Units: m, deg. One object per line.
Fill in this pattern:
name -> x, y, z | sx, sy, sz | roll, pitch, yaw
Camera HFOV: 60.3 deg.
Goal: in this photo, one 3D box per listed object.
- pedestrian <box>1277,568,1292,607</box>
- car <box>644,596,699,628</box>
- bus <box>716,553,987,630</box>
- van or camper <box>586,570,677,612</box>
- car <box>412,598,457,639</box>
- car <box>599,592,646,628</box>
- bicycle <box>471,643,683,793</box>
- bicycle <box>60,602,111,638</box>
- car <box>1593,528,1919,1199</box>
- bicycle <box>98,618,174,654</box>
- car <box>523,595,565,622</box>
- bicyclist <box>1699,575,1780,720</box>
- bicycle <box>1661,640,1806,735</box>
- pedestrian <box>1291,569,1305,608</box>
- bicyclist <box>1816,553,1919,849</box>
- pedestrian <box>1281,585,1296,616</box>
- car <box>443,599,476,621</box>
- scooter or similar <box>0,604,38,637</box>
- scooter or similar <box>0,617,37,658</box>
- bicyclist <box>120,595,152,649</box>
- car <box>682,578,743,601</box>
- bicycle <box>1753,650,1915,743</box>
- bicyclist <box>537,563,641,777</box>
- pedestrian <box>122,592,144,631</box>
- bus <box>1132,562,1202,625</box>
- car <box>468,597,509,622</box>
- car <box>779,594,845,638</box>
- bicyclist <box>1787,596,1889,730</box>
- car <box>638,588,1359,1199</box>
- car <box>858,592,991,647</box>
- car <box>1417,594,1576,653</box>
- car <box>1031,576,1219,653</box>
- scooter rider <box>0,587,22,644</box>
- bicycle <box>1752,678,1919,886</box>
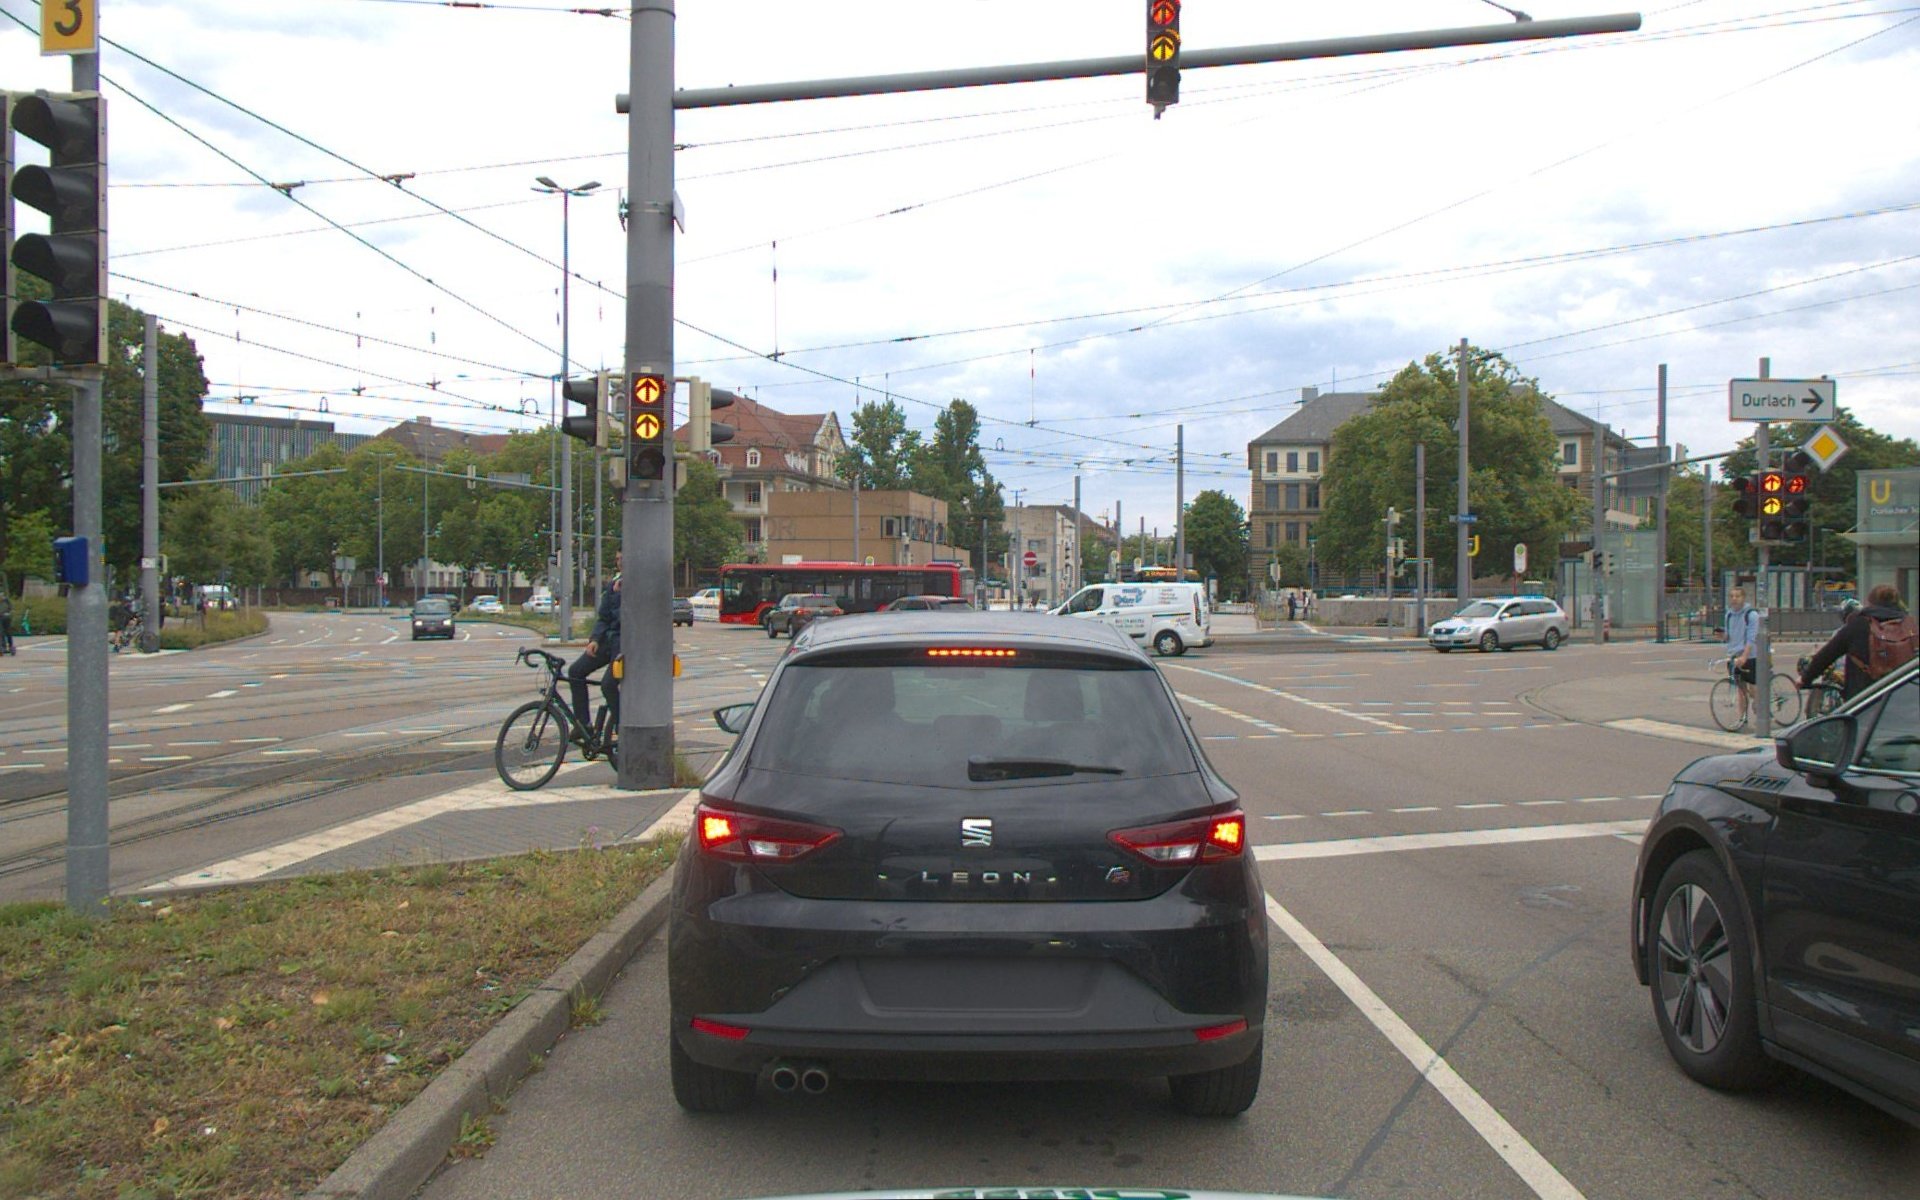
pedestrian -> 35.922, -1.357, 183.085 | 1.358, 4.328, 1.346 | 0, 0, 0
car -> -14.797, 0.601, 84.572 | 1.966, 1.566, 3.972 | 0, 0, -23
bus -> -5.004, -0.361, 75.727 | 12.078, 3.355, 3.070 | 0, 0, 18
van or camper -> -27.338, -0.740, 137.887 | 2.828, 3.390, 7.102 | -2, -1, 44
car -> -20.778, 0.702, 65.309 | 1.594, 1.542, 3.644 | -1, 1, -19
car -> -19.647, 0.566, 96.223 | 1.966, 2.049, 3.972 | 0, 0, -23
bicycle -> -3.052, 0.916, 13.257 | 1.599, 1.088, 0.520 | -1, 0, -41
bicycle -> -36.991, 0.838, 69.972 | 0.829, 1.474, 2.255 | 0, 0, 4
car -> 3.313, 0.661, 3.764 | 1.865, 1.687, 4.512 | 0, 0, -3
bicycle -> -26.683, 1.180, 53.595 | 2.081, 1.046, 0.791 | 3, 0, -20
car -> -28.392, 0.566, 112.829 | 1.969, 1.780, 3.966 | 0, 0, -26
bicyclist -> 9.907, 0.594, 21.020 | 0.724, 1.782, 0.581 | -2, 1, -27
bicycle -> 9.819, 1.087, 20.976 | 1.964, 1.015, 0.574 | -4, 1, -28
pedestrian -> 37.421, -1.287, 183.087 | 1.280, 4.328, 1.346 | 0, 0, 0
bicyclist -> 5.713, 0.579, 10.028 | 0.603, 1.720, 0.805 | 0, 0, -3
pedestrian -> 20.270, 0.042, 102.066 | 0.806, 1.886, 1.022 | 0, 0, 15
car -> -40.756, 0.819, 134.673 | 1.969, 1.780, 3.966 | 0, 0, -26
scooter or similar -> -38.478, 0.842, 67.203 | 1.753, 1.325, 0.623 | -1, 0, -33
scooter or similar -> -28.121, 1.096, 48.526 | 0.560, 1.185, 1.907 | 0, 0, 20
bicyclist -> -26.694, 0.703, 53.590 | 0.800, 1.685, 0.789 | 2, 0, -20
car -> -21.474, -0.899, 143.683 | 1.967, 1.897, 4.969 | -5, -3, 45
bicycle -> 10.334, 1.128, 19.550 | 1.912, 1.016, 0.598 | 0, 0, -22
bicyclist -> -2.989, 0.545, 13.317 | 0.649, 1.668, 0.510 | 0, 0, -40
pedestrian -> -38.193, 0.510, 76.393 | 0.734, 1.764, 0.683 | -1, 0, -15
bus -> 11.977, -0.361, 94.459 | 2.952, 3.325, 13.054 | 0, 0, 12
car -> -32.455, 0.654, 113.719 | 1.971, 1.668, 3.963 | 0, 0, -28
car -> -5.632, 0.562, 62.487 | 1.959, 1.593, 4.191 | 0, 0, -13
bicyclist -> 10.389, 0.724, 19.585 | 0.871, 1.548, 0.668 | 0, 0, -21
car -> 0.068, 0.718, 5.948 | 1.710, 1.489, 3.999 | 1, 0, -1
car -> -1.123, 0.586, 51.139 | 1.849, 1.628, 4.138 | 0, 0, -43
car -> 15.114, 0.631, 46.558 | 4.567, 1.508, 1.708 | -2, 1, -31
car -> 4.569, 0.404, 45.686 | 4.908, 2.054, 2.002 | 0, 0, 15
scooter rider -> -28.107, 0.456, 48.576 | 0.556, 1.656, 0.822 | 0, 0, 20
bicycle -> 5.714, 1.077, 10.149 | 0.612, 1.073, 2.125 | 0, 1, -3
